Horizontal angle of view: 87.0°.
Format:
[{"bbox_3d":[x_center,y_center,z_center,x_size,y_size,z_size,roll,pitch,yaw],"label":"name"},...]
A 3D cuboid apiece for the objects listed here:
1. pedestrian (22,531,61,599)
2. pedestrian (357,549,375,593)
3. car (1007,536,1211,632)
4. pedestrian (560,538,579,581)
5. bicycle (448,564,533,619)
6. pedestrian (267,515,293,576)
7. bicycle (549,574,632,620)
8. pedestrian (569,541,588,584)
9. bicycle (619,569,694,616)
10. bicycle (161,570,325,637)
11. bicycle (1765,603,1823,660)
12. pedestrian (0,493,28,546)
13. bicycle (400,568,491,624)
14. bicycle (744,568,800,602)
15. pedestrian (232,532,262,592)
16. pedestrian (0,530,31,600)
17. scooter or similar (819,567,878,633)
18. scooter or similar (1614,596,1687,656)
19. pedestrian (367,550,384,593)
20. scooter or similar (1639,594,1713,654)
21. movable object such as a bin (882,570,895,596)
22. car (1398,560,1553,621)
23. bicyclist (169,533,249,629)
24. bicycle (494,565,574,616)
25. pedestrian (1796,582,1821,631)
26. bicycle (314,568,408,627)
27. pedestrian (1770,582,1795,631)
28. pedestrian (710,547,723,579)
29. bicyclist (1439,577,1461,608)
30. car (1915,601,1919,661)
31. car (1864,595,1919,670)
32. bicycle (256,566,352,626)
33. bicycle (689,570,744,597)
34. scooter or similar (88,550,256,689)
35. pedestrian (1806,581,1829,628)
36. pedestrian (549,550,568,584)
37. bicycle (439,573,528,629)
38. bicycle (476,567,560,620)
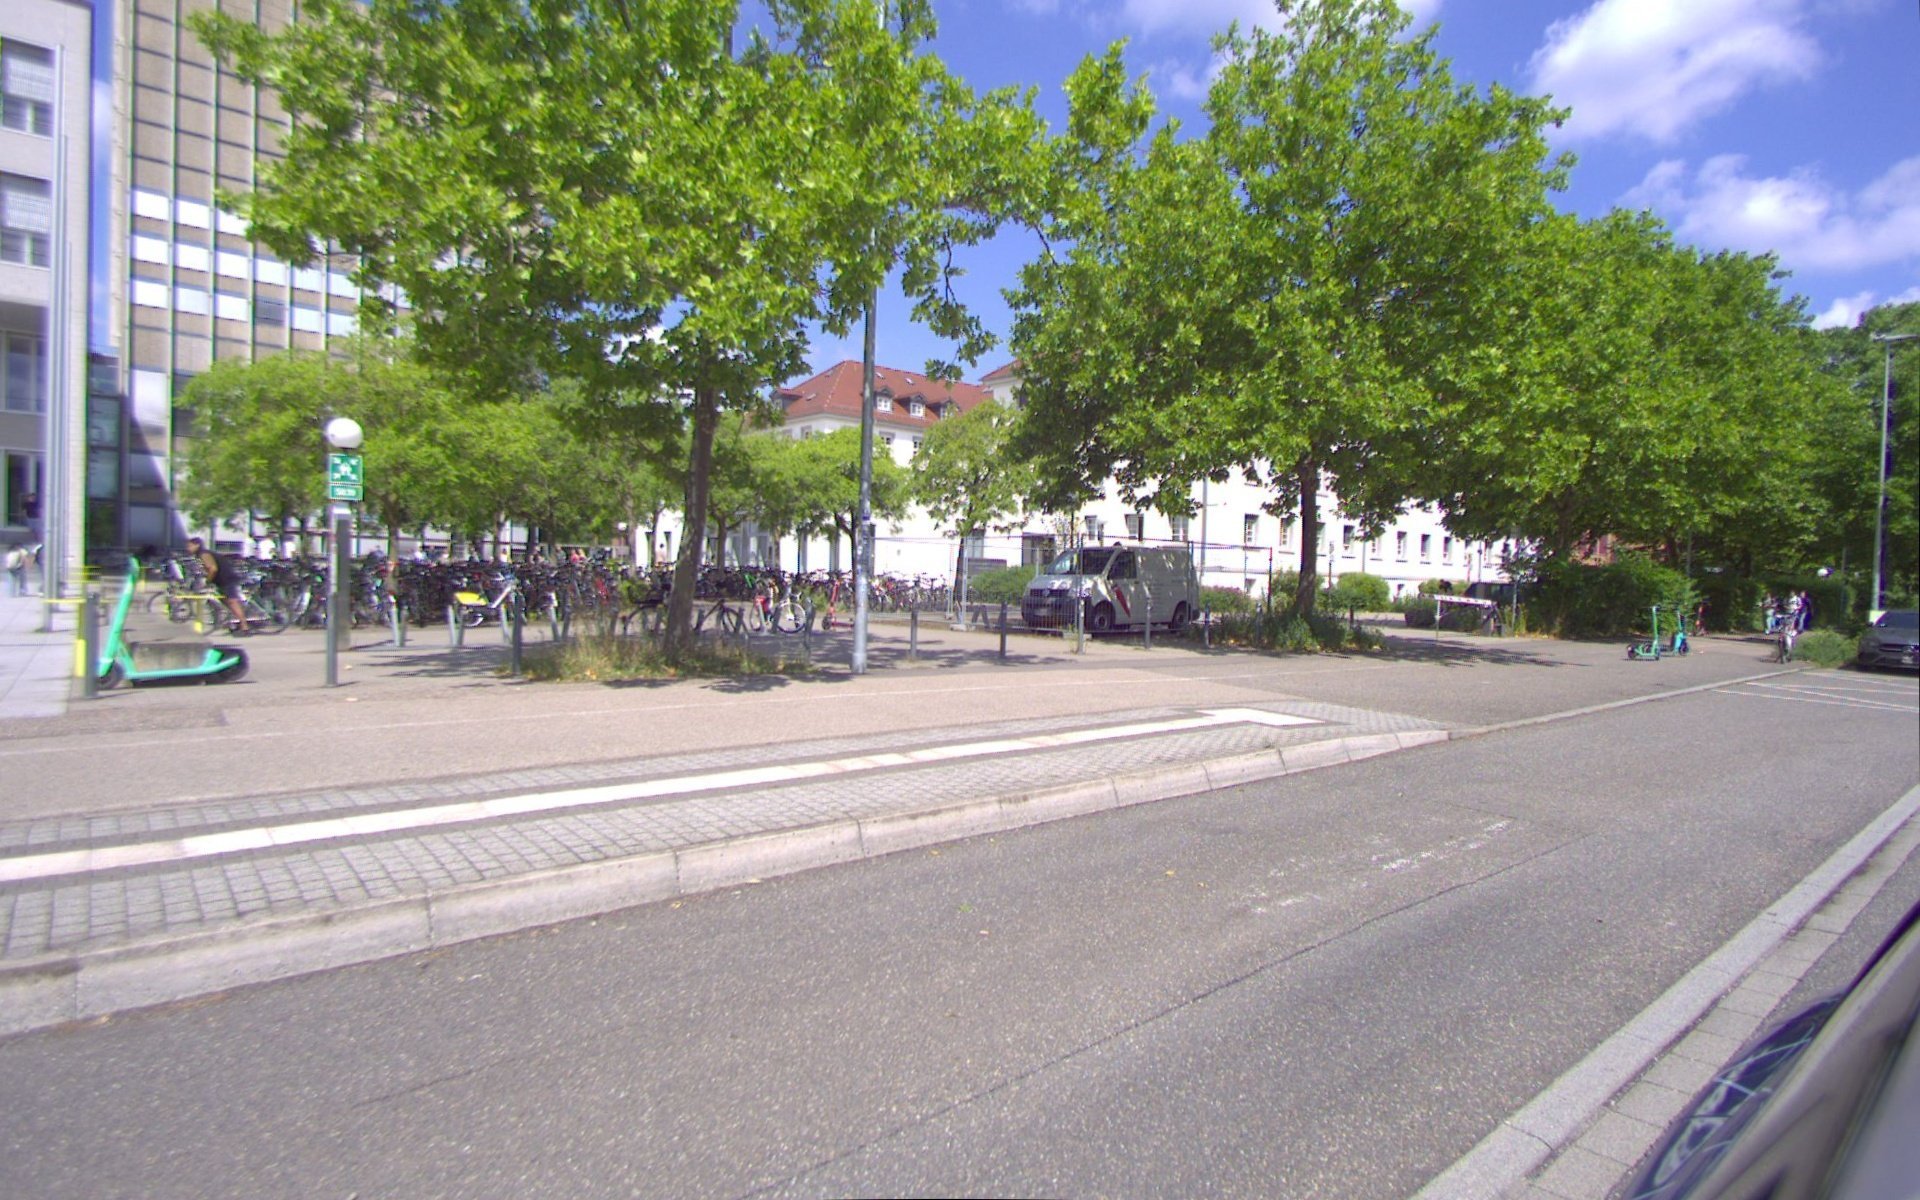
[{"bbox_3d":[-24.152,-0.900,26.628,0.621,1.769,0.717,0,0,-31],"label":"pedestrian"},{"bbox_3d":[-30.773,-1.511,52.413,0.701,2.257,0.635,0,0,-23],"label":"pedestrian"},{"bbox_3d":[3.384,-0.337,22.315,4.860,1.888,1.899,0,1,-44],"label":"car"},{"bbox_3d":[-20.719,-2.117,53.646,0.626,2.257,0.712,0,0,18],"label":"pedestrian"},{"bbox_3d":[-10.169,-0.195,21.930,1.745,1.112,0.600,2,1,19],"label":"bicycle"},{"bbox_3d":[-25.822,-2.056,38.420,0.851,2.257,0.624,0,0,42],"label":"pedestrian"},{"bbox_3d":[-8.322,-0.078,22.807,1.745,0.966,0.600,2,1,19],"label":"bicycle"},{"bbox_3d":[-20.022,-1.966,53.124,0.626,2.257,0.712,0,0,18],"label":"pedestrian"},{"bbox_3d":[-7.460,-0.185,24.873,1.744,1.113,0.600,0,0,19],"label":"bicycle"},{"bbox_3d":[-12.278,0.037,17.410,2.109,1.092,0.906,-1,1,-18],"label":"bicycle"},{"bbox_3d":[18.998,0.713,23.034,2.082,1.205,0.639,1,2,-42],"label":"bicycle"},{"bbox_3d":[-34.183,-2.892,36.540,0.707,1.820,0.716,0,0,-39],"label":"pedestrian"},{"bbox_3d":[-10.407,-0.082,20.461,1.744,1.113,0.600,0,0,19],"label":"bicycle"},{"bbox_3d":[-6.139,-0.483,33.088,1.744,1.113,0.600,0,0,18],"label":"bicycle"},{"bbox_3d":[-27.116,-1.445,38.470,0.707,2.257,0.630,0,0,19],"label":"pedestrian"},{"bbox_3d":[-24.434,-0.897,26.061,0.621,1.769,0.717,0,0,-31],"label":"pedestrian"},{"bbox_3d":[-2.177,-0.007,19.770,1.290,1.248,0.277,1,2,35],"label":"scooter or similar"},{"bbox_3d":[14.433,0.550,21.158,1.542,1.183,0.531,2,2,-28],"label":"scooter or similar"},{"bbox_3d":[-31.312,-1.524,54.234,0.701,2.257,0.635,0,0,-23],"label":"pedestrian"},{"bbox_3d":[16.159,0.533,22.843,1.263,1.261,0.531,3,2,-7],"label":"scooter or similar"},{"bbox_3d":[-2.978,-0.700,42.021,0.388,1.068,0.362,4,3,44],"label":"movable object such as a bin"},{"bbox_3d":[16.332,-0.292,32.183,1.967,1.805,3.990,0,0,-43],"label":"car"},{"bbox_3d":[-12.711,-0.317,17.154,0.913,1.583,0.664,1,1,-18],"label":"bicyclist"},{"bbox_3d":[-10.021,-0.230,23.802,1.745,1.112,0.600,2,1,19],"label":"bicycle"},{"bbox_3d":[31.670,0.245,37.783,0.680,1.803,0.780,0,0,37],"label":"pedestrian"},{"bbox_3d":[-11.643,-0.052,19.667,1.744,1.113,0.600,0,0,19],"label":"bicycle"},{"bbox_3d":[31.136,0.237,38.304,0.680,1.803,0.781,0,0,36],"label":"pedestrian"},{"bbox_3d":[-13.380,-2.046,55.541,0.443,1.738,0.498,4,2,44],"label":"pedestrian"},{"bbox_3d":[22.017,-0.347,45.494,0.730,1.336,0.607,0,3,-43],"label":"bicyclist"},{"bbox_3d":[26.138,0.865,25.656,4.846,1.468,1.745,2,2,-34],"label":"car"},{"bbox_3d":[21.915,0.750,22.638,4.855,1.496,1.861,1,3,-41],"label":"car"},{"bbox_3d":[-12.475,-0.080,19.242,1.744,1.113,0.600,0,0,19],"label":"bicycle"},{"bbox_3d":[-8.119,-0.559,33.801,1.744,0.880,0.600,0,0,18],"label":"bicycle"},{"bbox_3d":[-7.072,0.164,9.110,1.172,1.180,0.353,0,0,-41],"label":"scooter or similar"},{"bbox_3d":[33.538,0.180,39.587,0.681,1.803,0.779,0,0,42],"label":"pedestrian"},{"bbox_3d":[-21.412,-1.770,53.920,0.626,1.800,0.712,0,0,18],"label":"pedestrian"},{"bbox_3d":[-9.962,0.014,21.174,1.745,1.112,0.600,2,0,19],"label":"bicycle"},{"bbox_3d":[-9.873,-0.151,22.608,1.745,1.112,0.600,2,1,19],"label":"bicycle"}]
